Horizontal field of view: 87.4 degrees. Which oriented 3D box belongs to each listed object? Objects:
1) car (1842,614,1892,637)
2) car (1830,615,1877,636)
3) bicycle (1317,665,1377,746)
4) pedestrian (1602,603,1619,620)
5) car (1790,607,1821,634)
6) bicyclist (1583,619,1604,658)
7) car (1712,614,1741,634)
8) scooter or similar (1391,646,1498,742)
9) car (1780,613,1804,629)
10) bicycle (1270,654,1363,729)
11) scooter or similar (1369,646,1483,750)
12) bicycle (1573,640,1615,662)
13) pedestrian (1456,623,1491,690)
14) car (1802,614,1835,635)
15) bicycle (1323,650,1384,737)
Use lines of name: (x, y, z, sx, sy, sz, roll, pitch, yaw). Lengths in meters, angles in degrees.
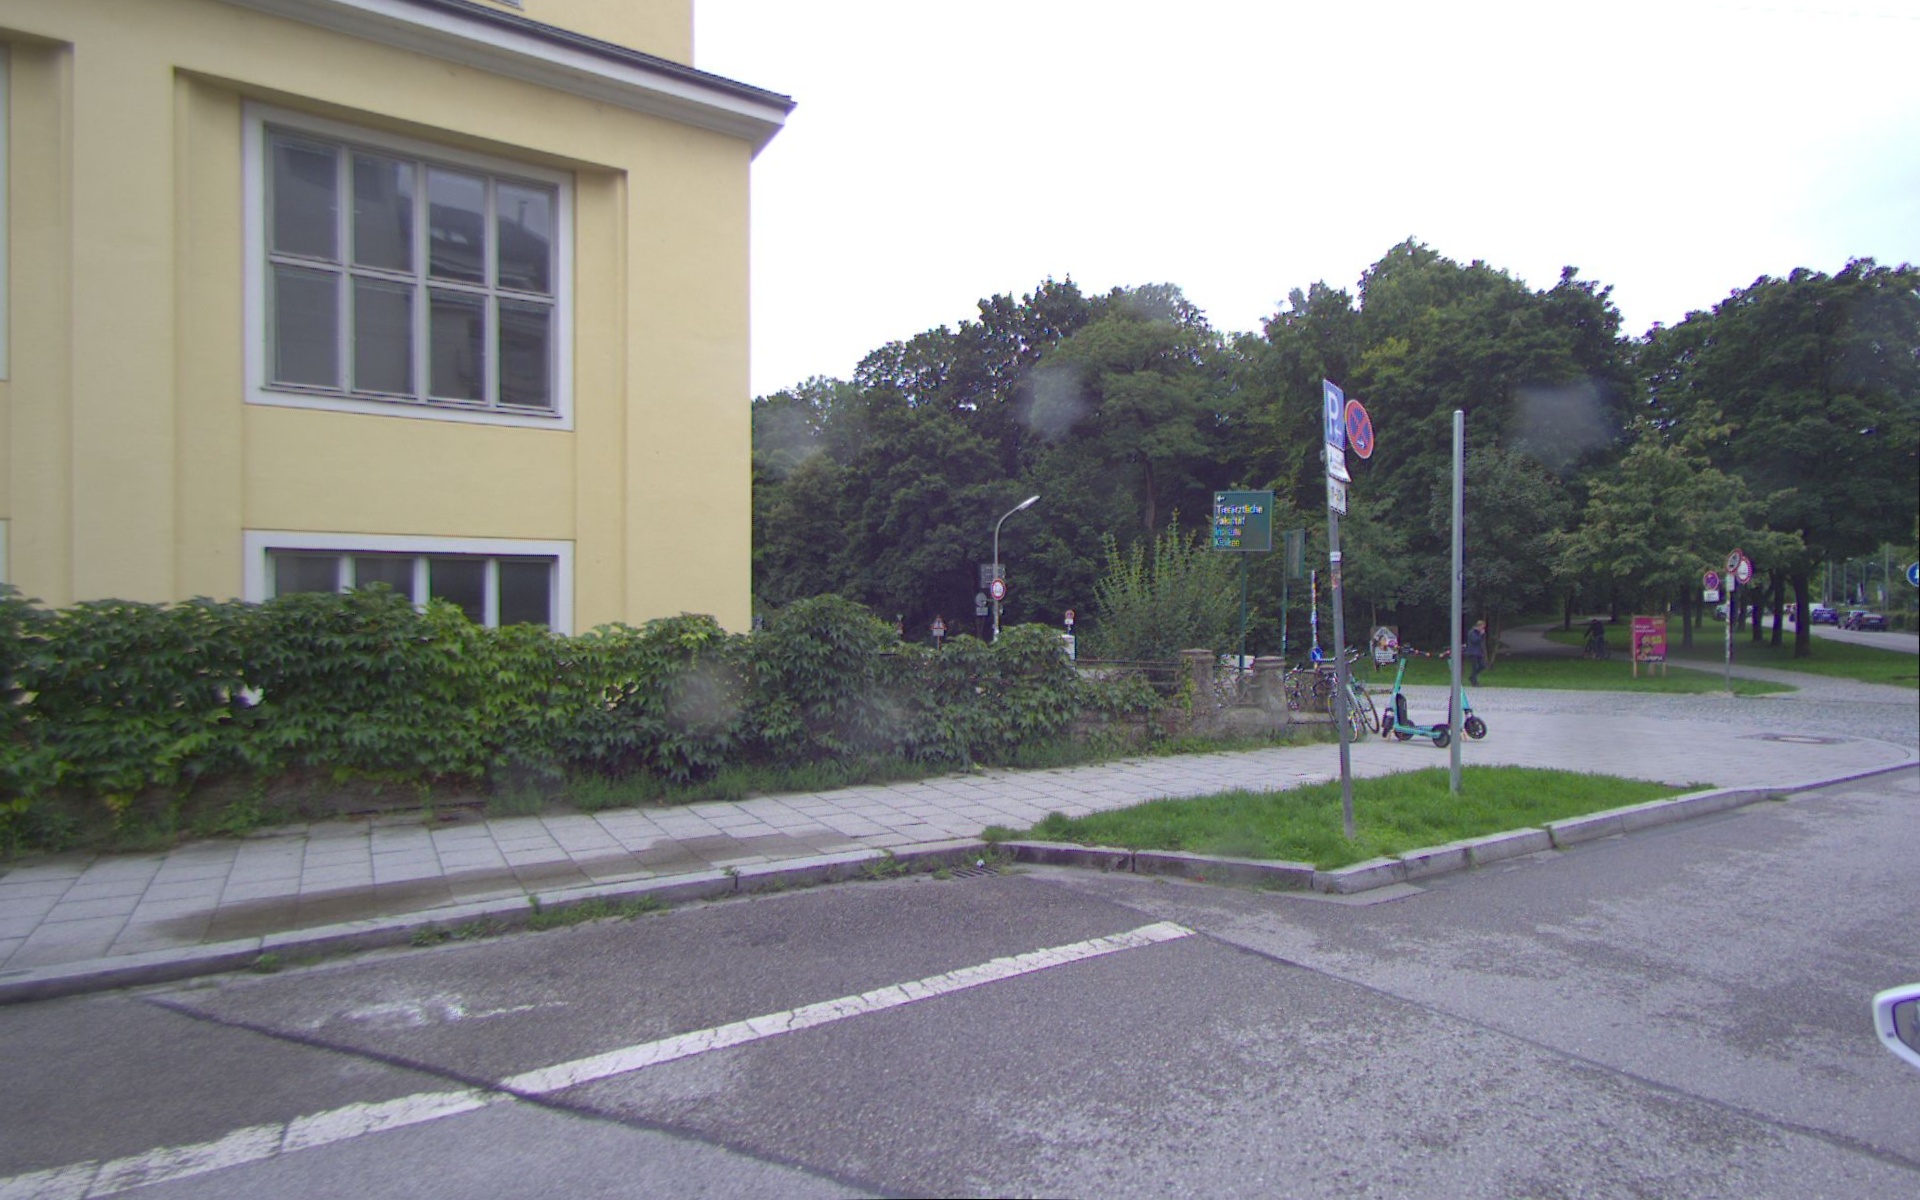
car: (67.857, 1.881, 75.227, 2.146, 1.679, 4.493, 0, -1, 33)
car: (71.351, 2.012, 80.254, 2.146, 1.679, 4.493, 0, -1, 33)
bicycle: (5.048, 1.348, 13.068, 0.463, 0.935, 1.201, 0, -1, 34)
pedestrian: (75.459, 1.322, 116.453, 1.301, 1.971, 1.035, 0, -1, 0)
car: (84.362, 2.060, 100.285, 1.850, 2.602, 4.918, 0, -1, 34)
bicyclist: (24.653, 1.498, 39.076, 0.620, 1.480, 0.643, 0, 0, 37)
car: (73.996, 2.268, 97.008, 1.967, 1.862, 3.988, 0, -1, 34)
scooter or similar: (6.379, 1.228, 13.259, 1.158, 1.235, 0.447, -1, -3, 7)
car: (90.890, 2.286, 109.760, 1.623, 1.674, 4.270, 0, -1, 35)
bicycle: (5.822, 1.491, 16.508, 0.642, 1.148, 1.736, 0, -4, -10)
scooter or similar: (5.868, 1.208, 12.696, 0.594, 1.235, 1.174, 1, -3, -27)
bicycle: (24.646, 1.969, 39.040, 1.340, 0.786, 0.438, 0, -1, 38)
pedestrian: (13.846, 1.499, 27.058, 0.720, 1.776, 0.656, -1, -1, 39)
car: (78.969, 2.242, 92.456, 1.850, 1.840, 3.988, 0, -1, 34)
bicycle: (5.763, 1.334, 14.769, 0.641, 1.149, 1.502, 0, -1, 14)
